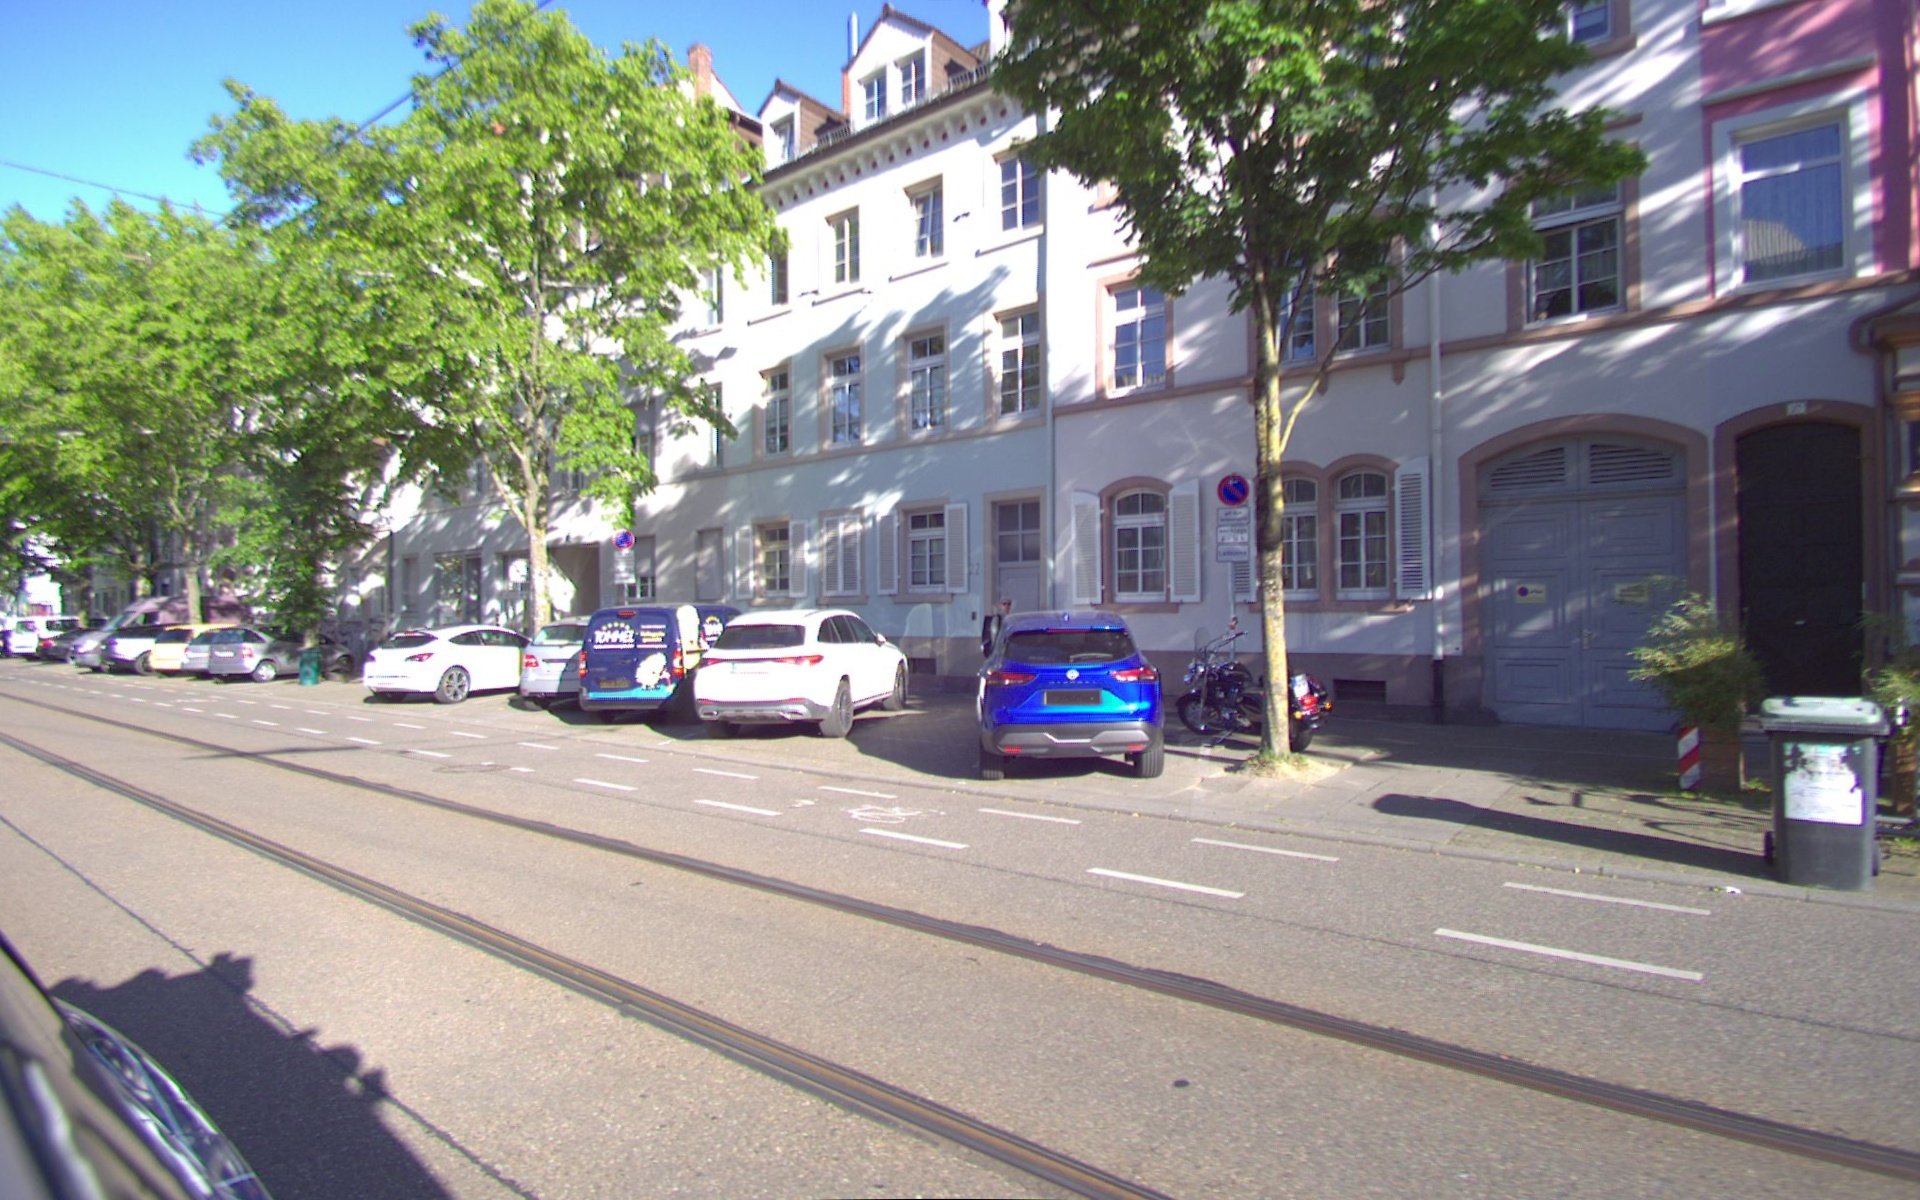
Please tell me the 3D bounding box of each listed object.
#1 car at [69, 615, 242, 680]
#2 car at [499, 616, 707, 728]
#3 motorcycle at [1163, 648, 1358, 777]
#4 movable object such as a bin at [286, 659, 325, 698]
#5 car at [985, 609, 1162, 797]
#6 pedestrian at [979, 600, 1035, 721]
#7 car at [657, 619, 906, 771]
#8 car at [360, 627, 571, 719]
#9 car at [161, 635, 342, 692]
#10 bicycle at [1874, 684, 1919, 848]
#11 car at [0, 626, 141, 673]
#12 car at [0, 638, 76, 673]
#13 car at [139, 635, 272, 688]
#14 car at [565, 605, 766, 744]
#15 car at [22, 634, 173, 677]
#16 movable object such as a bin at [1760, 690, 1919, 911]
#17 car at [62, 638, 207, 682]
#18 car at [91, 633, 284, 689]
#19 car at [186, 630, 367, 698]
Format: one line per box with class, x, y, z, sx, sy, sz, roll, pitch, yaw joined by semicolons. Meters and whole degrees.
car;-28.230;1.617;35.630;2.160;2.134;4.396;-2;-2;37
car;-6.341;1.218;18.498;1.791;1.669;3.986;-2;0;11
motorcycle;3.256;1.175;11.341;0.714;1.263;2.607;1;-3;-18
movable object such as a bin;-16.558;1.972;25.612;0.669;0.952;0.615;-2;-3;38
car;1.092;0.946;11.013;1.552;1.621;3.899;-1;0;2
pedestrian;0.749;0.942;16.004;0.624;1.852;0.637;-2;-3;41
car;-2.307;1.211;14.677;2.183;1.808;4.928;-1;-2;8
car;-9.986;1.415;20.741;1.872;1.541;3.625;-1;1;19
car;-20.942;1.860;30.111;1.692;1.564;4.139;-1;-3;23
bicycle;6.328;1.091;6.423;0.387;0.995;1.589;-2;-1;28
car;-40.478;2.210;45.906;2.056;2.029;4.915;-1;-2;16
car;-47.215;2.767;50.871;1.761;1.570;3.989;-1;-1;9
car;-23.582;1.883;31.788;1.368;1.565;3.366;-1;-2;8
car;-4.523;1.060;16.066;1.714;1.856;3.435;-1;1;10
car;-37.345;2.368;43.941;1.949;1.588;4.655;-2;-1;34
movable object such as a bin;5.085;1.104;5.819;0.709;1.086;0.677;-2;0;41
car;-32.035;2.284;39.401;1.660;1.464;4.067;-1;0;24
car;-25.944;1.991;34.150;2.160;1.737;4.784;-2;-2;37
car;-18.893;1.728;28.185;1.689;1.689;3.975;-1;-1;19
